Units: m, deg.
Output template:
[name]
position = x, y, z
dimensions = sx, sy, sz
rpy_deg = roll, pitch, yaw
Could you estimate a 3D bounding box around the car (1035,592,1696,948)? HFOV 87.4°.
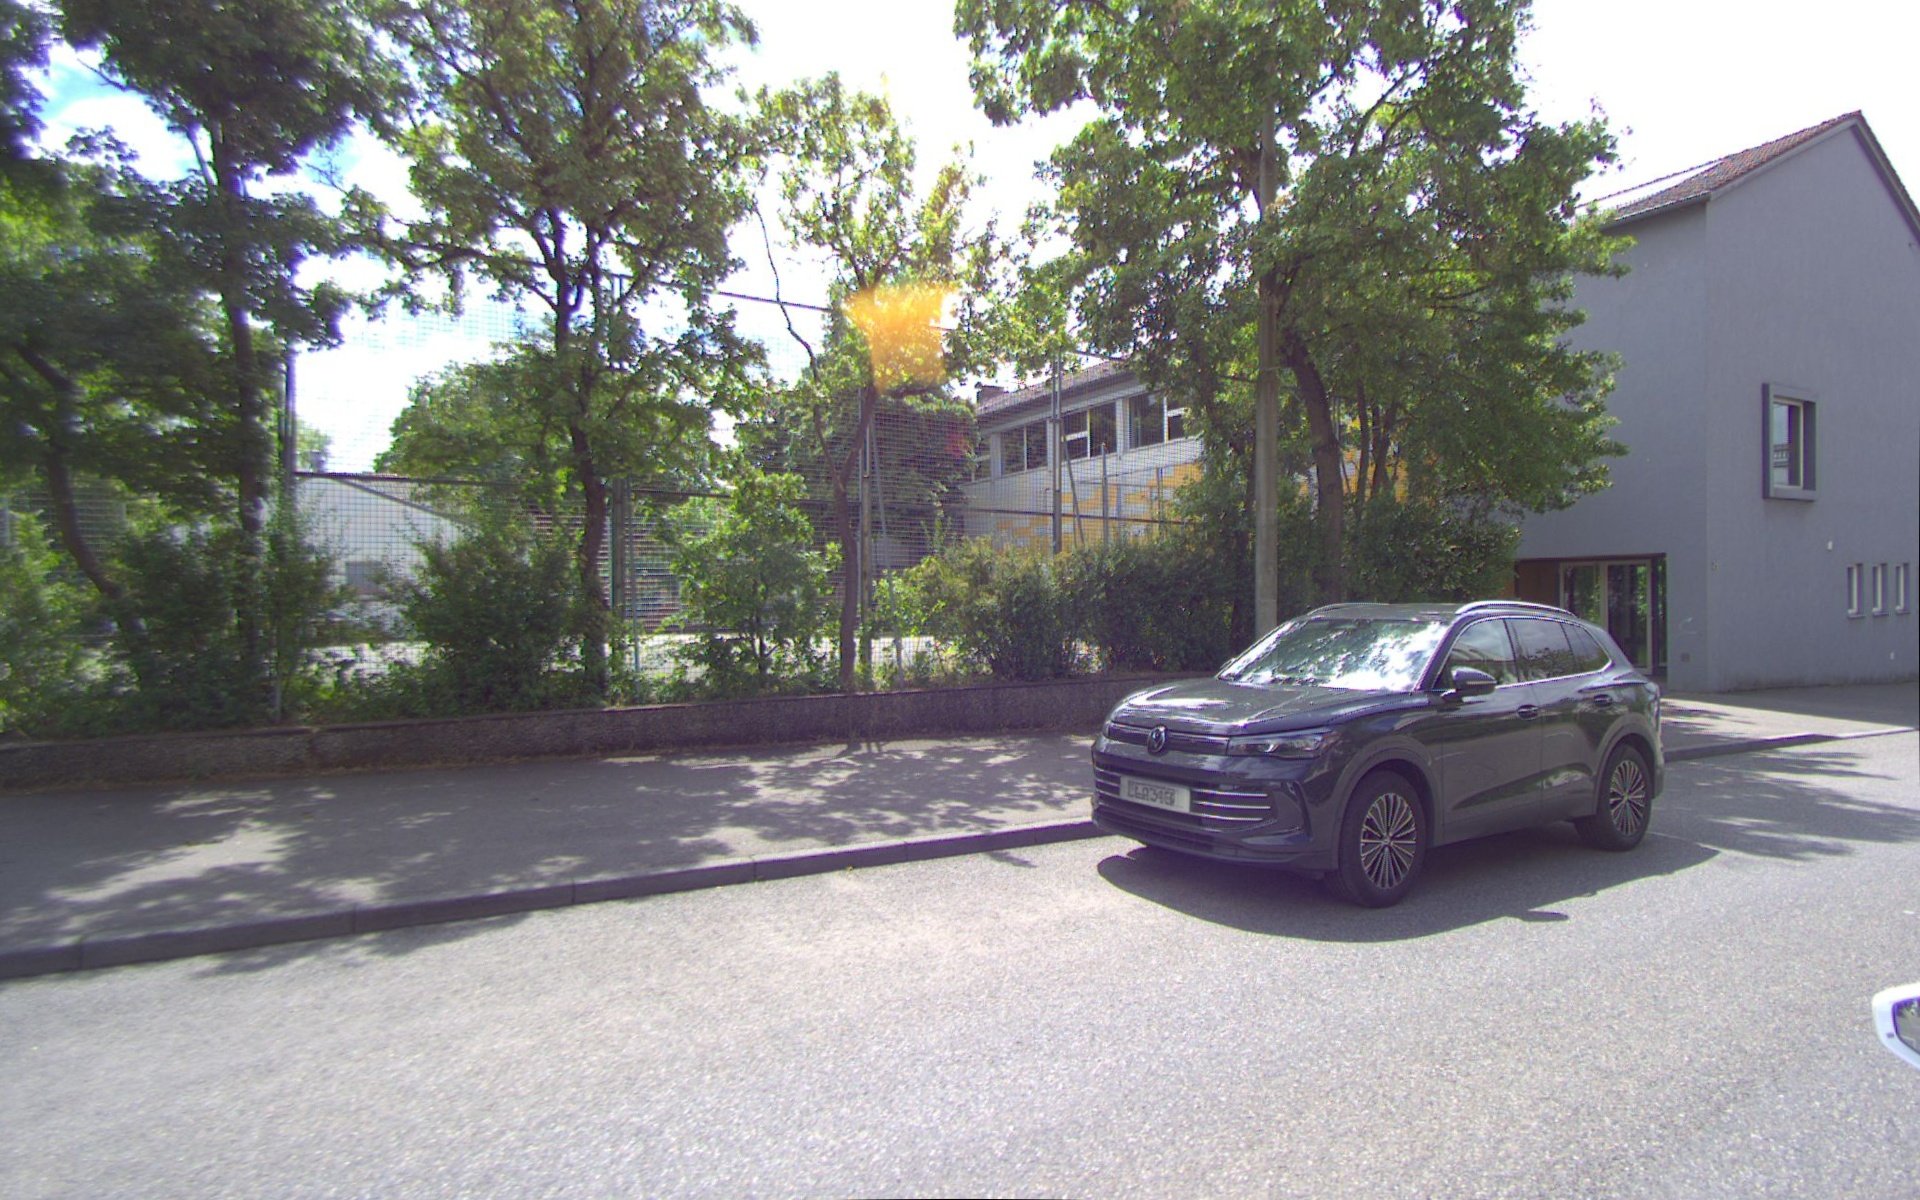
[car]
position = 2.850, 0.787, 6.636
dimensions = 4.596, 1.632, 1.785
rpy_deg = 0, 0, -34
